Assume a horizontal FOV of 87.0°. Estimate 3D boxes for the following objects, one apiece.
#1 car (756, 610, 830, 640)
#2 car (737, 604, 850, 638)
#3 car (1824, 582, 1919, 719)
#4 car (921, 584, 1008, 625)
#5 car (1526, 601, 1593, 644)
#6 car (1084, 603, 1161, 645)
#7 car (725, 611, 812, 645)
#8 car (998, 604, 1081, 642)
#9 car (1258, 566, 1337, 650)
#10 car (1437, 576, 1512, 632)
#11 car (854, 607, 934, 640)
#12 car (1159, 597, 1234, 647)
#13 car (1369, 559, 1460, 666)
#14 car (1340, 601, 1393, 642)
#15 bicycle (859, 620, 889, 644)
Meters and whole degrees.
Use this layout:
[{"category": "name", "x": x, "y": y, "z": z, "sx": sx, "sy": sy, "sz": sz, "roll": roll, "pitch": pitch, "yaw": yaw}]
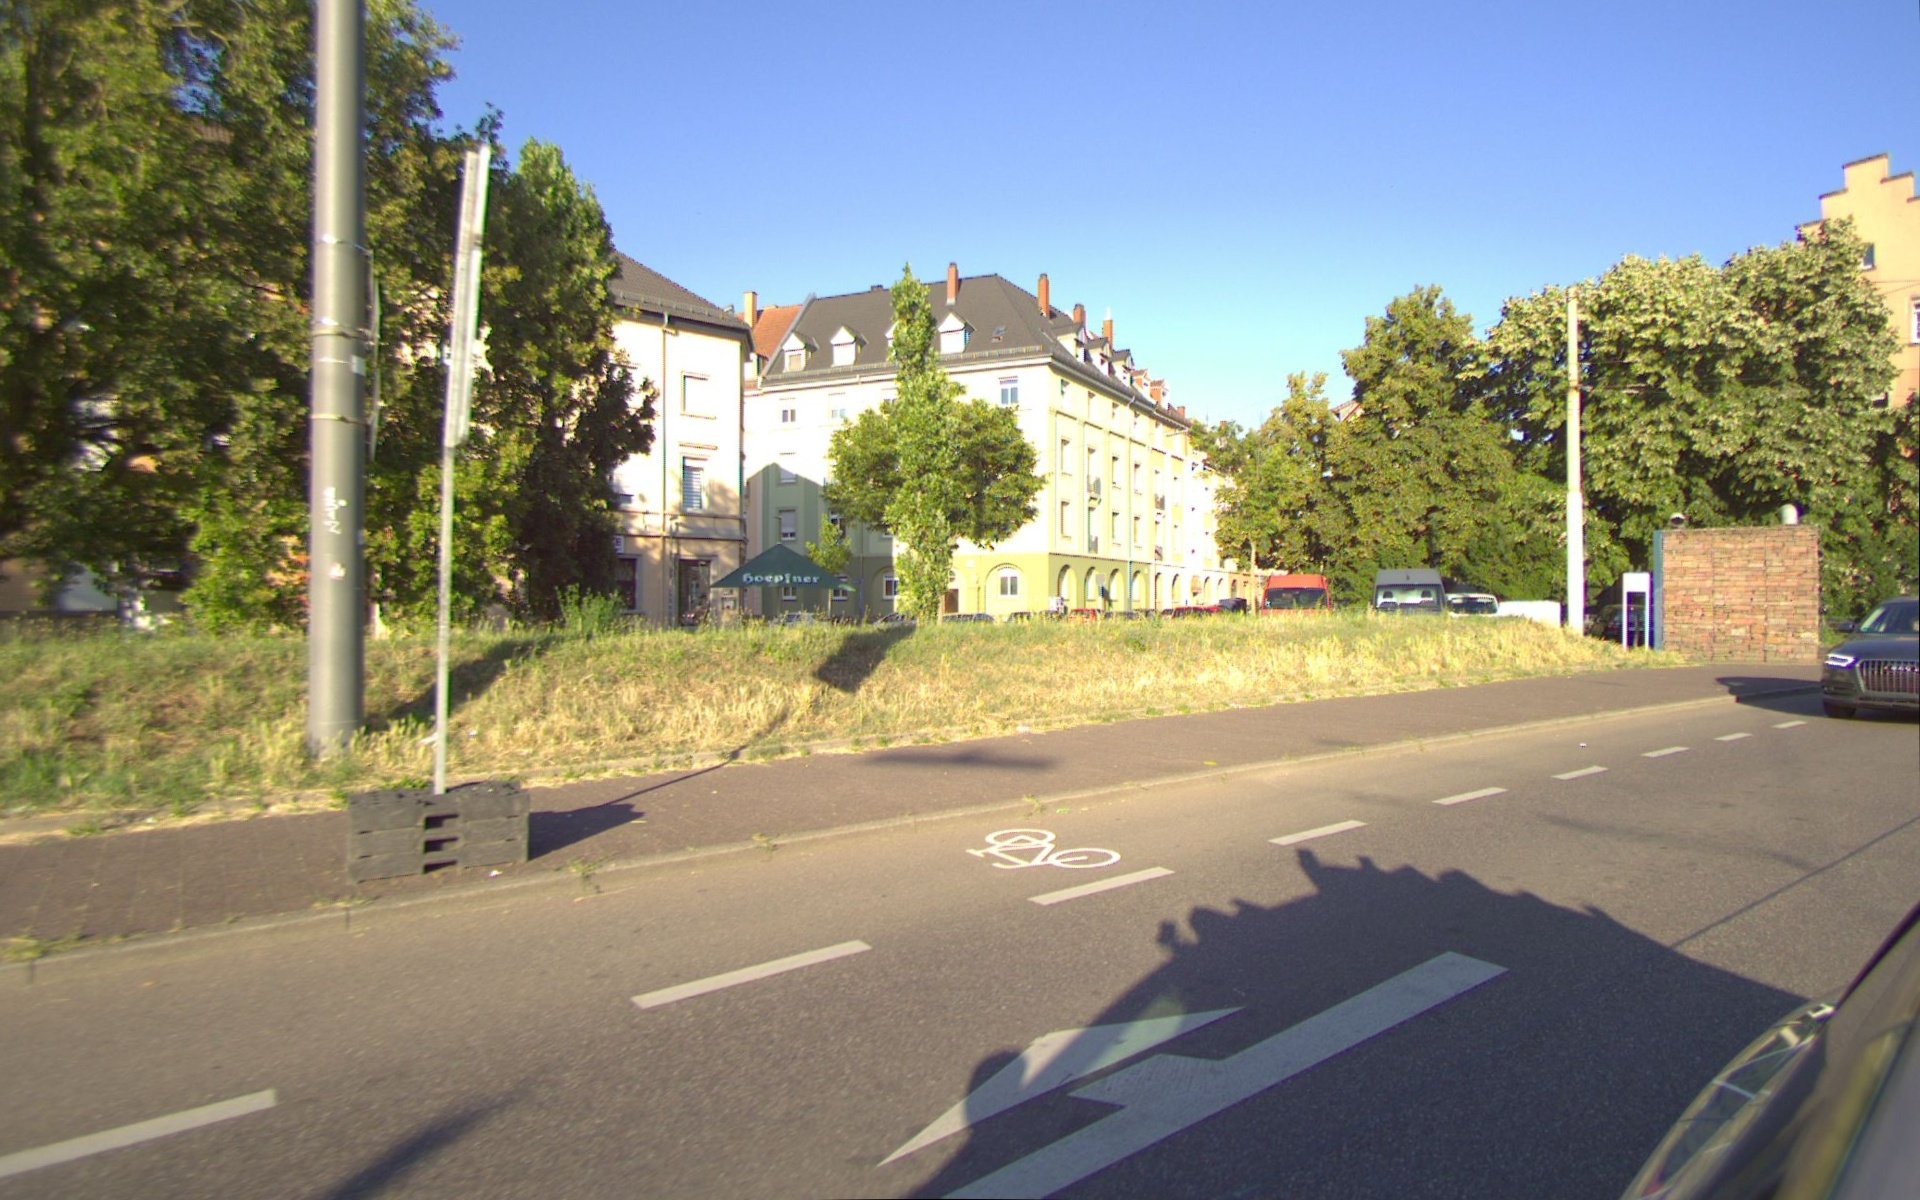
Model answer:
[{"category": "car", "x": -8.448, "y": 1.261, "z": 51.242, "sx": 3.591, "sy": 1.437, "sz": 1.304, "roll": -1, "pitch": 0, "yaw": 25}, {"category": "car", "x": -5.581, "y": 0.681, "z": 34.011, "sx": 3.498, "sy": 1.058, "sz": 1.512, "roll": 0, "pitch": 0, "yaw": 21}, {"category": "car", "x": 12.868, "y": 0.596, "z": 12.983, "sx": 3.990, "sy": 1.607, "sz": 1.772, "roll": 0, "pitch": 0, "yaw": -35}, {"category": "car", "x": 0.211, "y": 0.116, "z": 33.470, "sx": 1.686, "sy": 1.274, "sz": 3.681, "roll": 0, "pitch": 1, "yaw": 21}, {"category": "car", "x": 22.116, "y": 0.799, "z": 37.414, "sx": 1.612, "sy": 1.477, "sz": 3.420, "roll": 0, "pitch": 0, "yaw": 22}, {"category": "car", "x": 5.157, "y": 0.711, "z": 31.814, "sx": 1.686, "sy": 1.176, "sz": 3.681, "roll": 0, "pitch": 0, "yaw": 21}, {"category": "car", "x": -8.457, "y": 1.212, "z": 44.679, "sx": 3.598, "sy": 1.402, "sz": 1.544, "roll": -1, "pitch": 0, "yaw": 25}, {"category": "car", "x": 2.579, "y": 0.691, "z": 32.228, "sx": 1.686, "sy": 1.103, "sz": 3.681, "roll": 0, "pitch": 0, "yaw": 21}, {"category": "car", "x": 10.082, "y": 0.185, "z": 29.975, "sx": 2.018, "sy": 2.242, "sz": 5.377, "roll": 0, "pitch": 0, "yaw": 21}, {"category": "car", "x": 19.568, "y": 0.125, "z": 38.684, "sx": 1.902, "sy": 2.004, "sz": 4.719, "roll": 0, "pitch": 0, "yaw": 19}, {"category": "car", "x": -3.225, "y": 1.111, "z": 49.337, "sx": 3.604, "sy": 1.549, "sz": 1.519, "roll": 0, "pitch": 0, "yaw": 25}, {"category": "car", "x": 7.288, "y": 0.614, "z": 30.974, "sx": 1.758, "sy": 1.391, "sz": 3.863, "roll": 0, "pitch": 0, "yaw": 21}, {"category": "car", "x": 12.842, "y": 0.293, "z": 28.929, "sx": 2.018, "sy": 2.700, "sz": 6.172, "roll": 0, "pitch": 0, "yaw": 21}, {"category": "car", "x": 16.001, "y": 0.827, "z": 39.998, "sx": 1.728, "sy": 1.485, "sz": 4.198, "roll": -1, "pitch": 0, "yaw": 19}, {"category": "bicycle", "x": -3.627, "y": 1.344, "z": 42.865, "sx": 0.485, "sy": 0.981, "sz": 1.815, "roll": -1, "pitch": 0, "yaw": 23}]
